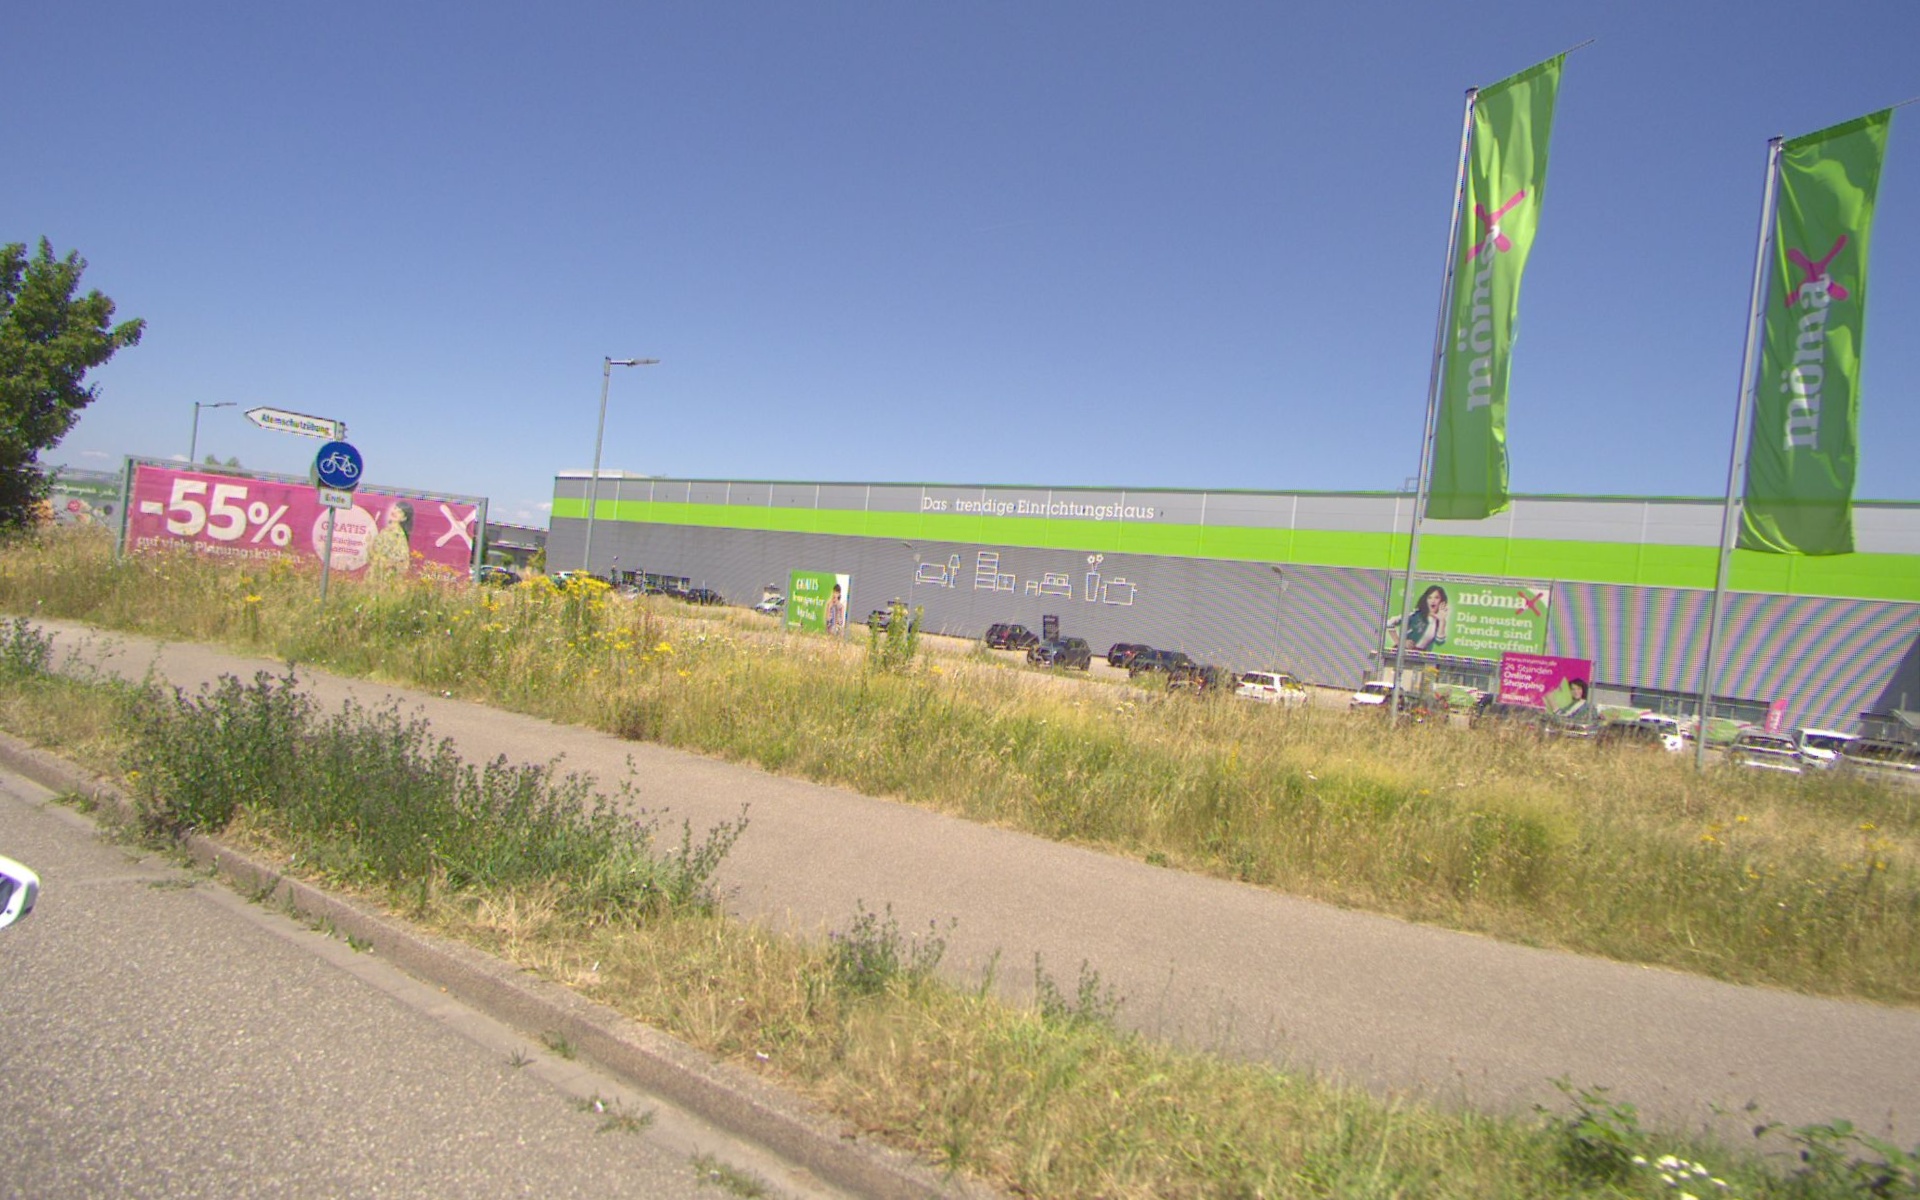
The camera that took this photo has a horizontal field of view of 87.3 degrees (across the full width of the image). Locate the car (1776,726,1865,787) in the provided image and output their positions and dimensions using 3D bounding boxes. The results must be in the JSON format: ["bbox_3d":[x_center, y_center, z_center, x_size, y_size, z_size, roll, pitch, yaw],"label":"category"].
[{"bbox_3d":[28.641,5.162,33.585,1.918,1.523,3.985,5,-1,37],"label":"car"}]

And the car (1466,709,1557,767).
[{"bbox_3d":[17.962,4.410,32.682,1.918,1.479,3.985,4,-1,37],"label":"car"}]

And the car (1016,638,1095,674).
[{"bbox_3d":[4.999,2.934,52.130,1.970,1.537,4.406,4,-2,37],"label":"car"}]

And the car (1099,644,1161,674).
[{"bbox_3d":[10.420,3.644,61.468,1.968,1.537,4.656,4,-2,33],"label":"car"}]

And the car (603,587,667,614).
[{"bbox_3d":[-23.351,0.024,72.412,1.968,1.537,3.990,4,-2,33],"label":"car"}]

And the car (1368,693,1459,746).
[{"bbox_3d":[15.695,4.062,34.711,1.918,1.479,3.985,4,-1,37],"label":"car"}]

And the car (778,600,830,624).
[{"bbox_3d":[-12.537,0.970,81.039,1.968,1.537,3.990,4,-2,33],"label":"car"}]

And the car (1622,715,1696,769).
[{"bbox_3d":[25.108,5.043,36.094,1.918,1.523,3.985,5,-1,37],"label":"car"}]

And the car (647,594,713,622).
[{"bbox_3d":[-19.133,0.569,68.828,1.968,1.537,3.990,4,-2,33],"label":"car"}]

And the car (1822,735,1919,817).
[{"bbox_3d":[25.079,4.751,27.525,1.887,1.717,3.985,5,-1,37],"label":"car"}]

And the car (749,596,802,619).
[{"bbox_3d":[-15.139,0.613,82.688,1.968,1.492,3.990,4,-2,33],"label":"car"}]

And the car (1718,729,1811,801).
[{"bbox_3d":[23.366,4.728,29.334,1.887,1.566,3.985,5,-1,37],"label":"car"}]

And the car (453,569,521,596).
[{"bbox_3d":[-34.453,-1.254,73.352,1.968,1.537,3.990,4,-2,33],"label":"car"}]

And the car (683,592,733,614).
[{"bbox_3d":[-22.449,0.266,89.843,1.968,1.537,3.990,4,-2,33],"label":"car"}]

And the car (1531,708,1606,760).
[{"bbox_3d":[22.716,4.932,37.487,1.918,1.523,3.985,5,-1,37],"label":"car"}]

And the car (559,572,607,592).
[{"bbox_3d":[-37.803,-1.833,100.985,1.968,1.537,3.990,4,-2,33],"label":"car"}]

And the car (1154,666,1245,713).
[{"bbox_3d":[9.383,3.500,39.277,1.918,1.549,3.985,5,-1,37],"label":"car"}]

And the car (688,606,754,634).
[{"bbox_3d":[-16.066,1.347,67.767,1.968,1.537,3.991,4,-2,32],"label":"car"}]

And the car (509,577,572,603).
[{"bbox_3d":[-31.872,-0.724,76.517,1.968,1.537,3.990,4,-2,33],"label":"car"}]

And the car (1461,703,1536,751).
[{"bbox_3d":[21.085,4.904,39.321,1.918,1.523,3.985,5,-1,37],"label":"car"}]

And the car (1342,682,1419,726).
[{"bbox_3d":[17.352,4.267,41.441,1.918,1.523,3.985,5,-1,37],"label":"car"}]

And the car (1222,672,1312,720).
[{"bbox_3d":[11.643,3.605,37.987,1.918,1.549,3.985,5,-1,37],"label":"car"}]

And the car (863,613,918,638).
[{"bbox_3d":[-5.189,1.941,75.446,1.968,1.537,3.990,4,-2,33],"label":"car"}]

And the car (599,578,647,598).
[{"bbox_3d":[-32.537,-1.128,97.238,1.968,1.537,3.990,4,-2,33],"label":"car"}]

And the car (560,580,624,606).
[{"bbox_3d":[-27.106,-0.507,74.272,1.968,1.537,3.990,4,-2,33],"label":"car"}]

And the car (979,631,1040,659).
[{"bbox_3d":[3.429,3.079,68.166,1.968,1.537,4.656,4,-2,33],"label":"car"}]

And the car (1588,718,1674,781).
[{"bbox_3d":[20.761,4.561,31.080,1.887,1.479,3.985,4,-1,37],"label":"car"}]

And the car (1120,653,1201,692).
[{"bbox_3d":[9.505,3.443,47.563,1.970,1.537,4.406,4,-2,37],"label":"car"}]
